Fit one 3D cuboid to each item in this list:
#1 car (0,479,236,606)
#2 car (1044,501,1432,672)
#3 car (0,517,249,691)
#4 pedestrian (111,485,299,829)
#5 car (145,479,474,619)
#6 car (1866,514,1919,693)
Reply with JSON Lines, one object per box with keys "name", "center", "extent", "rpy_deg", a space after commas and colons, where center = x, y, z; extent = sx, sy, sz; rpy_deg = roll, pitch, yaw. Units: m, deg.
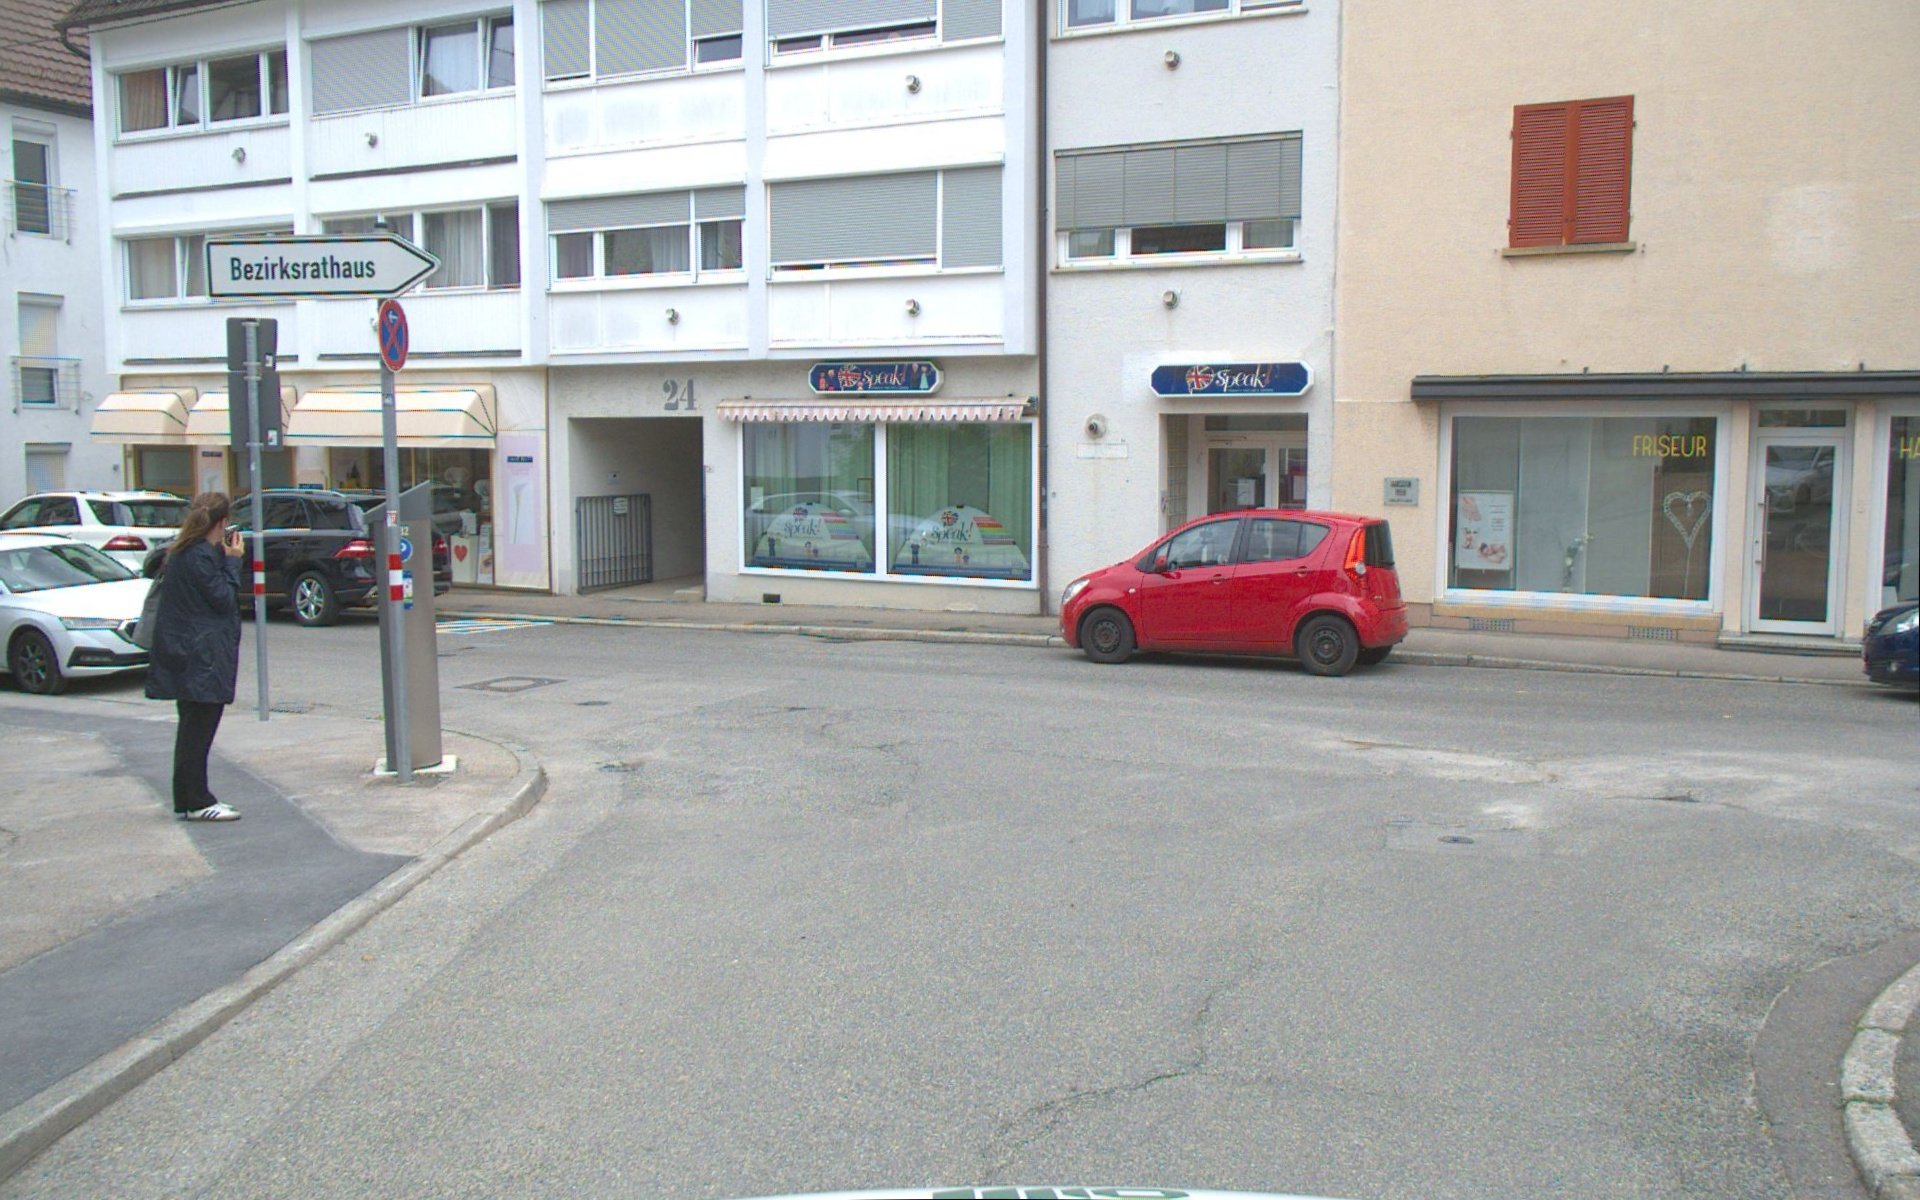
{"name": "car", "center": [-13.504, -0.959, 25.529], "extent": [4.278, 1.740, 1.939], "rpy_deg": [3, 6, 27]}
{"name": "car", "center": [2.869, -0.222, 17.167], "extent": [3.614, 1.583, 1.695], "rpy_deg": [2, 4, 29]}
{"name": "car", "center": [-9.748, -0.047, 17.374], "extent": [4.197, 1.485, 1.799], "rpy_deg": [2, 8, 26]}
{"name": "pedestrian", "center": [-3.885, 0.267, 8.549], "extent": [0.633, 1.713, 0.605], "rpy_deg": [1, 3, 7]}
{"name": "car", "center": [-9.130, -0.775, 23.198], "extent": [4.271, 1.810, 1.946], "rpy_deg": [2, 4, 28]}
{"name": "car", "center": [9.692, 0.057, 13.627], "extent": [3.833, 1.475, 1.695], "rpy_deg": [2, 3, 28]}
